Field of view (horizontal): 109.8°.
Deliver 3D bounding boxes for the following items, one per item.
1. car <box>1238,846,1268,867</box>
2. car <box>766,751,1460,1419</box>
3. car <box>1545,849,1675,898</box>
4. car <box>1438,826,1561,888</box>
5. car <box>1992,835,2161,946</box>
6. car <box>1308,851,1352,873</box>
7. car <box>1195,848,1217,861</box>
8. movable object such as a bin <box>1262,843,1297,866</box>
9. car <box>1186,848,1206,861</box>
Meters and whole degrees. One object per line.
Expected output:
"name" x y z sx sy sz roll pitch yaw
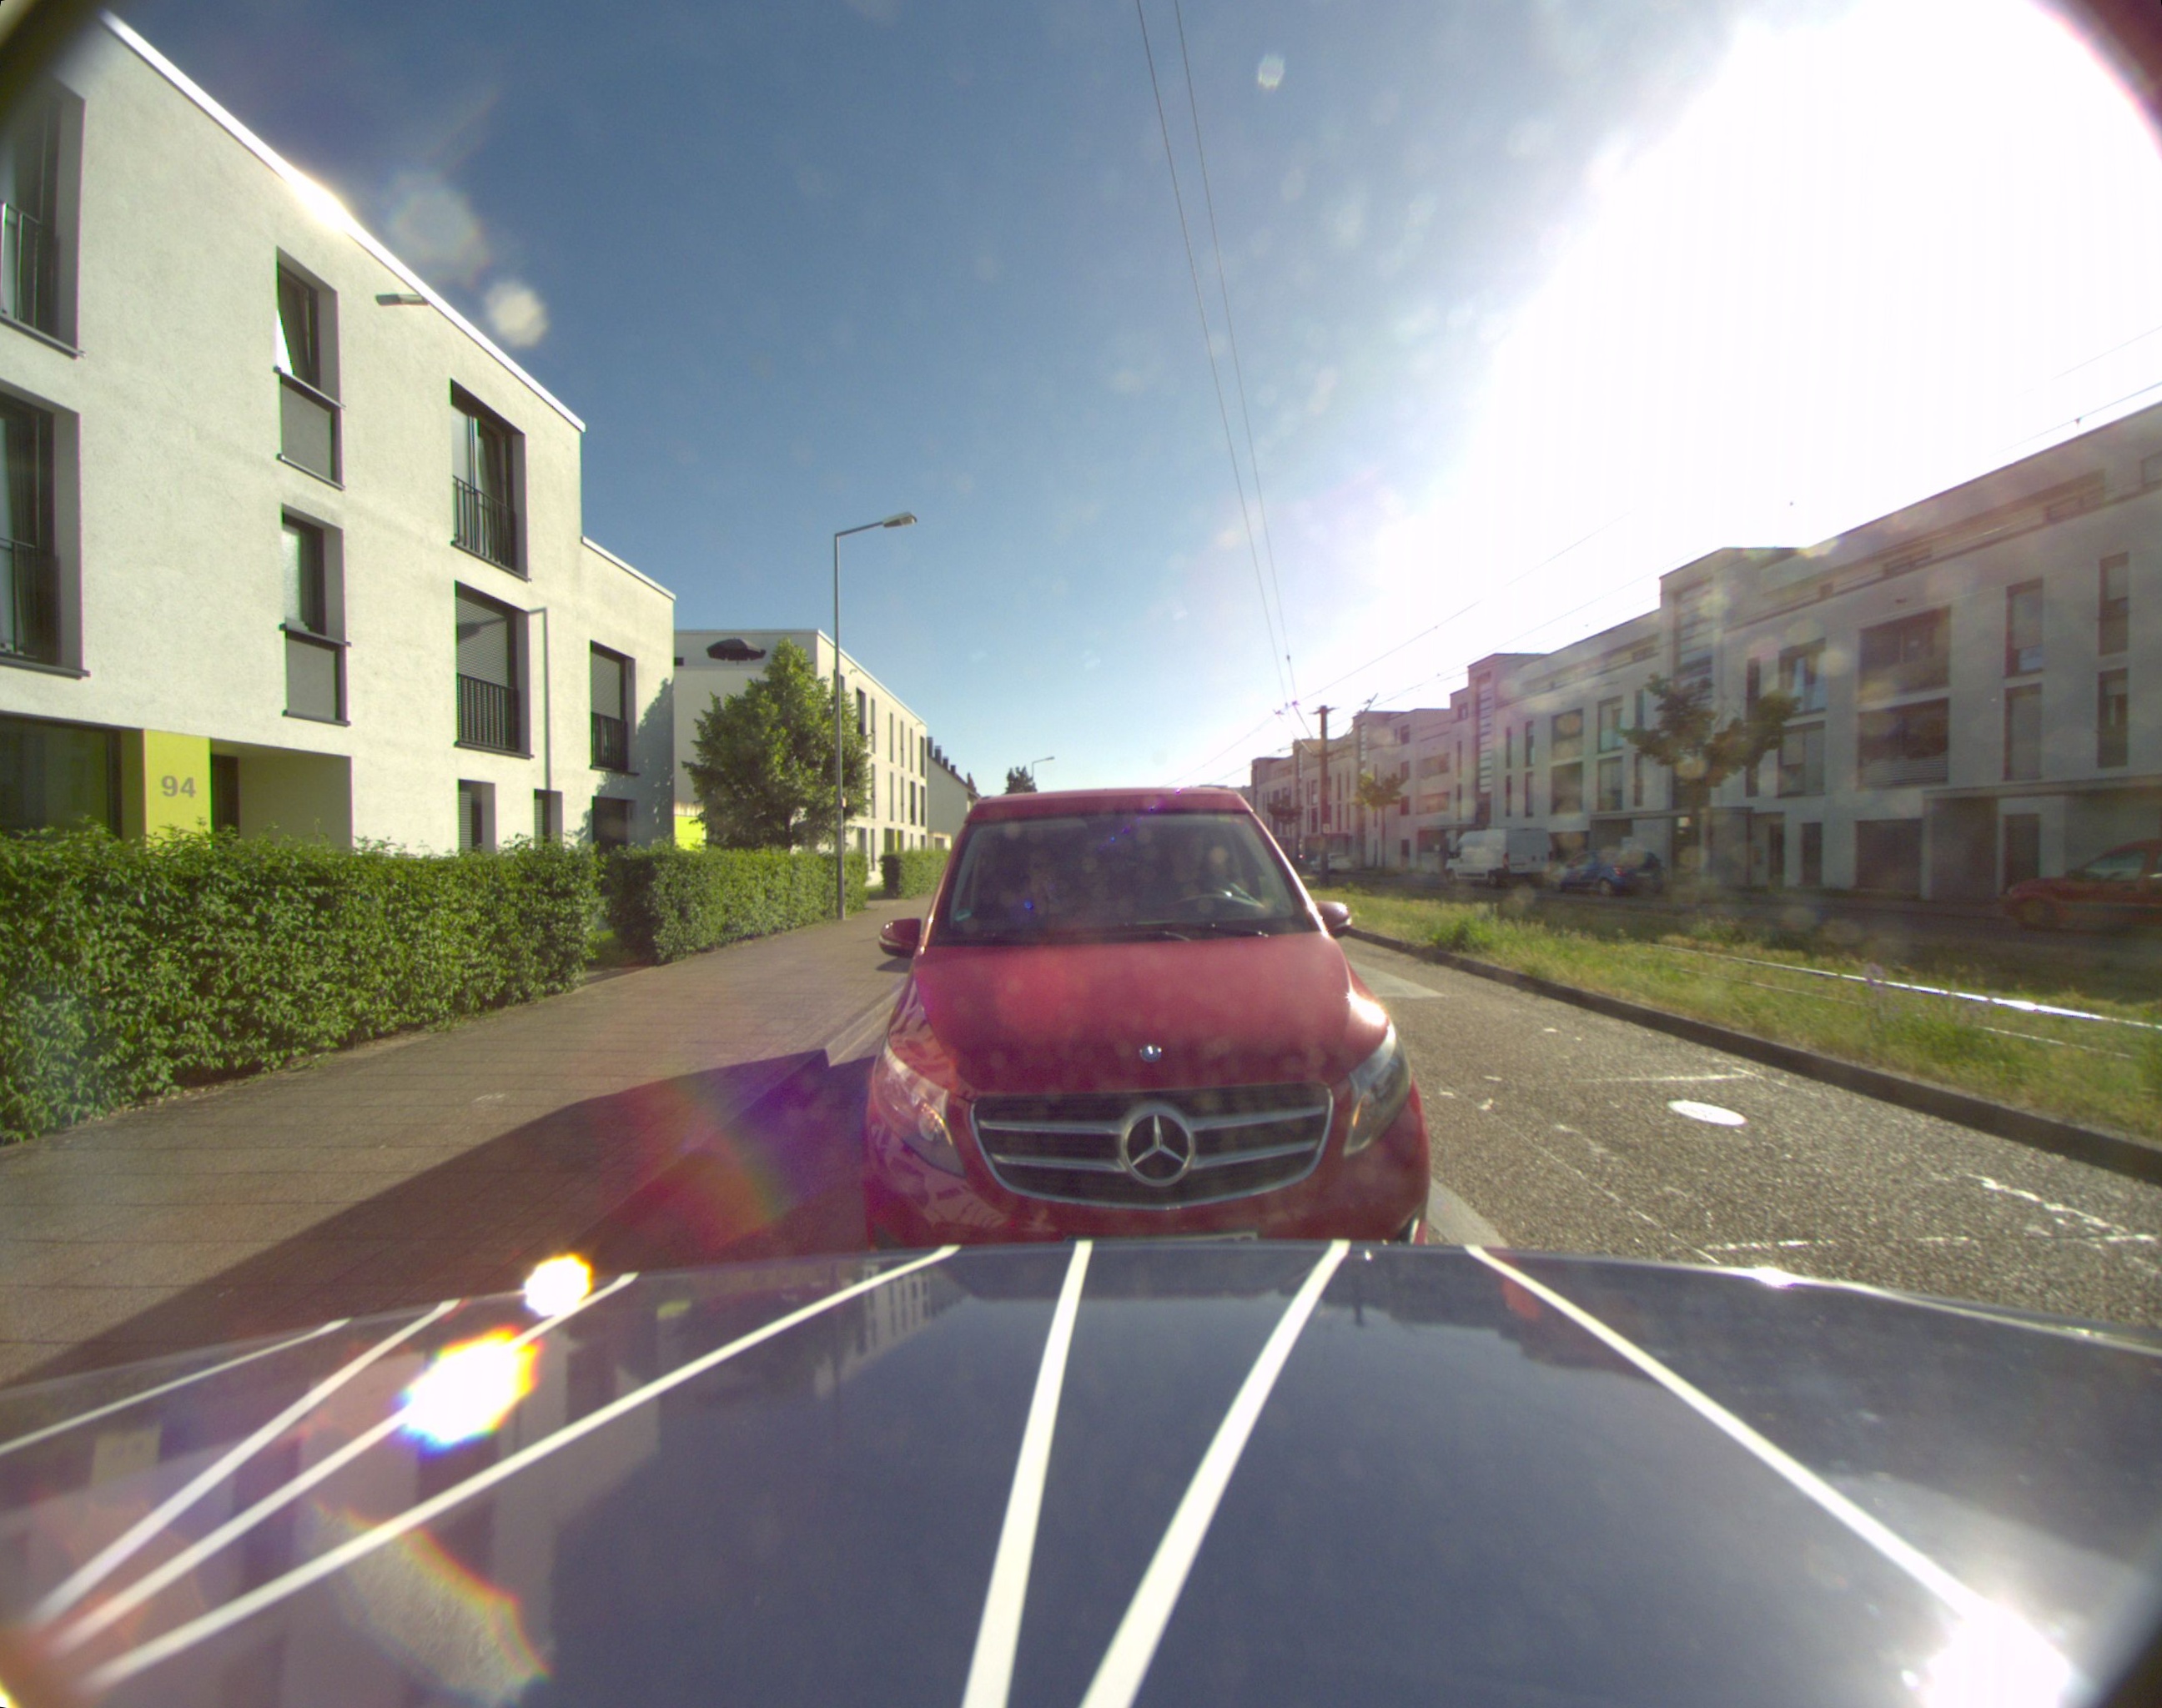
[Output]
"car" 16.773 0.236 74.249 1.766 1.859 4.155 -2 0 -4
"car" 0.154 0.686 4.851 1.979 1.922 5.205 -2 0 1
"car" 18.268 0.627 26.460 1.829 1.528 3.842 -2 0 0
"car" 18.141 0.126 33.333 2.146 2.430 5.588 -2 0 -1
"car" 18.578 0.586 12.799 1.885 1.785 3.837 -2 0 1
"car" 17.538 0.522 53.674 1.521 1.424 4.155 -2 0 -4
"car" 15.426 0.060 93.933 1.766 1.590 4.155 -2 0 -4
"movable object such as a bin" 17.471 0.045 67.047 1.766 1.926 4.155 -2 0 -4
"car" 15.038 0.030 99.567 1.766 1.590 4.155 -2 0 -4
